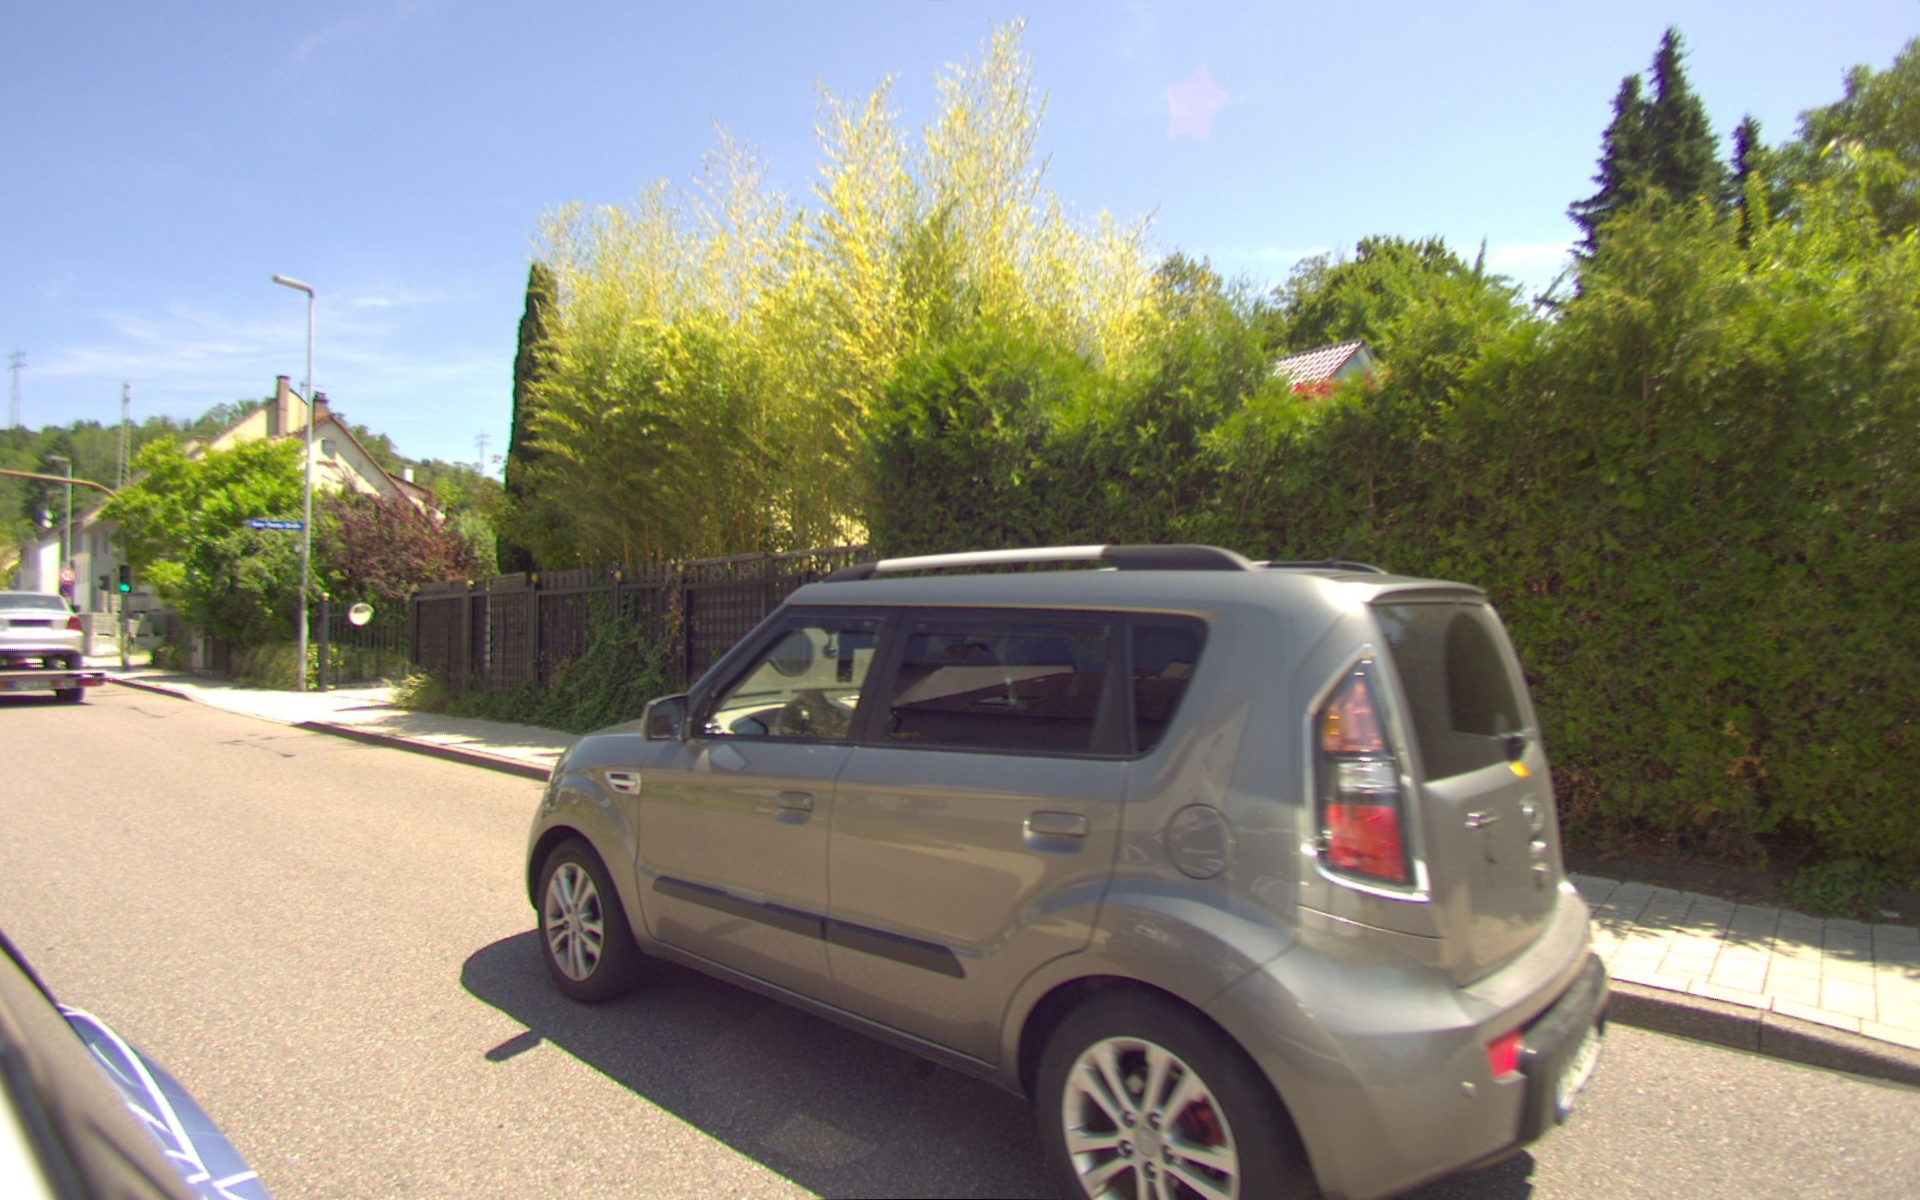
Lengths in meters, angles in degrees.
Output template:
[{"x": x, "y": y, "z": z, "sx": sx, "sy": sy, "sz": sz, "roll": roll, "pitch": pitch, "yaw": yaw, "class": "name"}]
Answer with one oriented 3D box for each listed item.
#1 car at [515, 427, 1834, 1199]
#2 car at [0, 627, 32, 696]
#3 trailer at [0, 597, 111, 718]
[{"x": 0.305, "y": 0.646, "z": 3.414, "sx": 3.947, "sy": 1.665, "sz": 1.848, "roll": -2, "pitch": -2, "yaw": 42, "class": "car"}, {"x": -21.973, "y": 1.327, "z": 22.292, "sx": 4.244, "sy": 1.413, "sz": 1.749, "roll": -1, "pitch": -1, "yaw": 40, "class": "car"}, {"x": -18.088, "y": 0.974, "z": 19.118, "sx": 6.197, "sy": 2.002, "sz": 2.134, "roll": 0, "pitch": -1, "yaw": 40, "class": "trailer"}]
